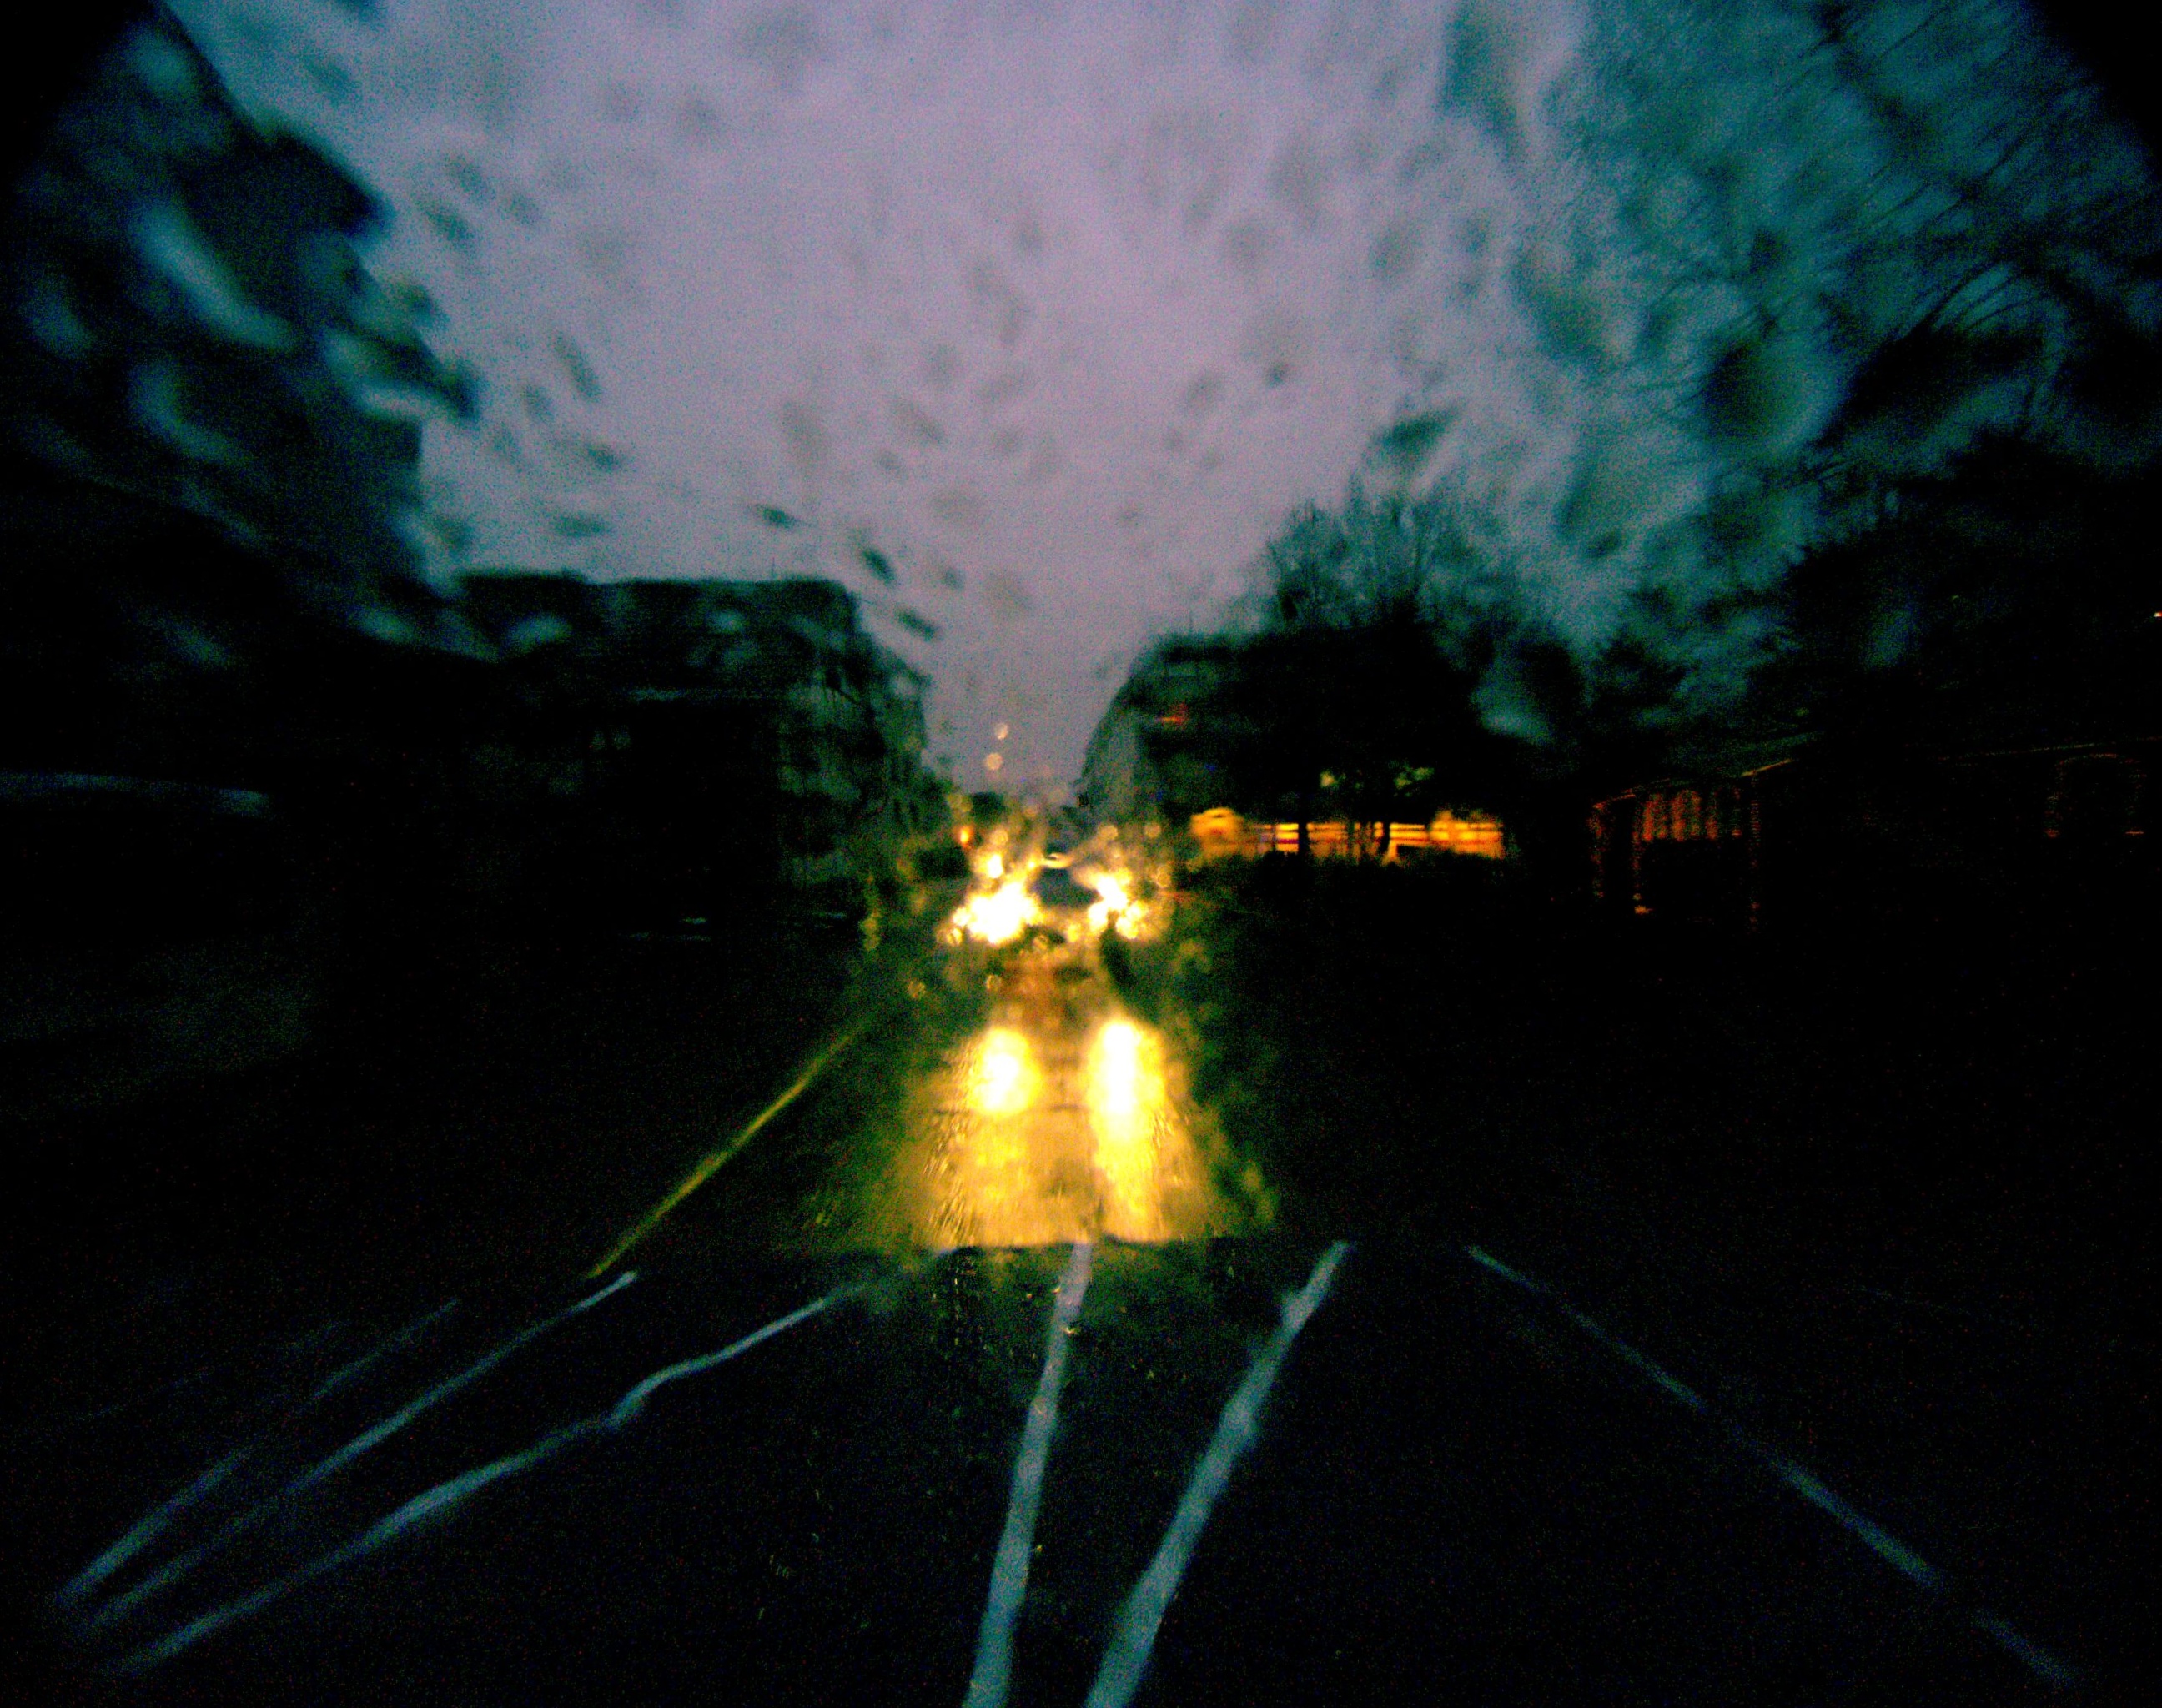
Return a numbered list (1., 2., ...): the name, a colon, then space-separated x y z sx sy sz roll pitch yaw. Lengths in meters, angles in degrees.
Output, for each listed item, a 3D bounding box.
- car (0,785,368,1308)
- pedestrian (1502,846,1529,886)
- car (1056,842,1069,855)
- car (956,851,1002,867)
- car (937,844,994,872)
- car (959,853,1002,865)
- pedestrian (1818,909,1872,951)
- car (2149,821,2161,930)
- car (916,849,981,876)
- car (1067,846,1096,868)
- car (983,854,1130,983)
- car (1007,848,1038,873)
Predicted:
1. car: -5.774 0.615 3.106 4.051 1.833 1.864 2 1 3
2. pedestrian: 14.718 0.404 25.729 0.620 1.332 0.568 -1 1 7
3. car: -2.998 -0.911 123.815 1.838 2.002 3.698 -2 1 -5
4. car: -8.715 0.450 65.067 3.890 1.359 1.550 0 1 -5
5. car: -8.039 0.277 52.781 3.891 1.866 1.867 0 1 -11
6. car: -9.395 0.464 71.360 3.890 1.121 1.550 0 0 -5
7. pedestrian: 9.591 0.952 9.543 0.295 0.482 0.361 1 1 0
8. car: 17.410 0.332 9.738 3.988 1.623 1.638 0 1 37
9. car: -8.231 0.498 47.307 3.855 1.618 1.610 1 0 -10
10. car: 0.013 0.196 58.810 1.900 1.607 3.825 -2 1 -4
11. car: -0.337 0.781 11.025 1.732 1.475 3.603 -2 1 -2
12. car: -4.024 0.434 52.025 1.924 1.608 3.865 -2 1 -7
